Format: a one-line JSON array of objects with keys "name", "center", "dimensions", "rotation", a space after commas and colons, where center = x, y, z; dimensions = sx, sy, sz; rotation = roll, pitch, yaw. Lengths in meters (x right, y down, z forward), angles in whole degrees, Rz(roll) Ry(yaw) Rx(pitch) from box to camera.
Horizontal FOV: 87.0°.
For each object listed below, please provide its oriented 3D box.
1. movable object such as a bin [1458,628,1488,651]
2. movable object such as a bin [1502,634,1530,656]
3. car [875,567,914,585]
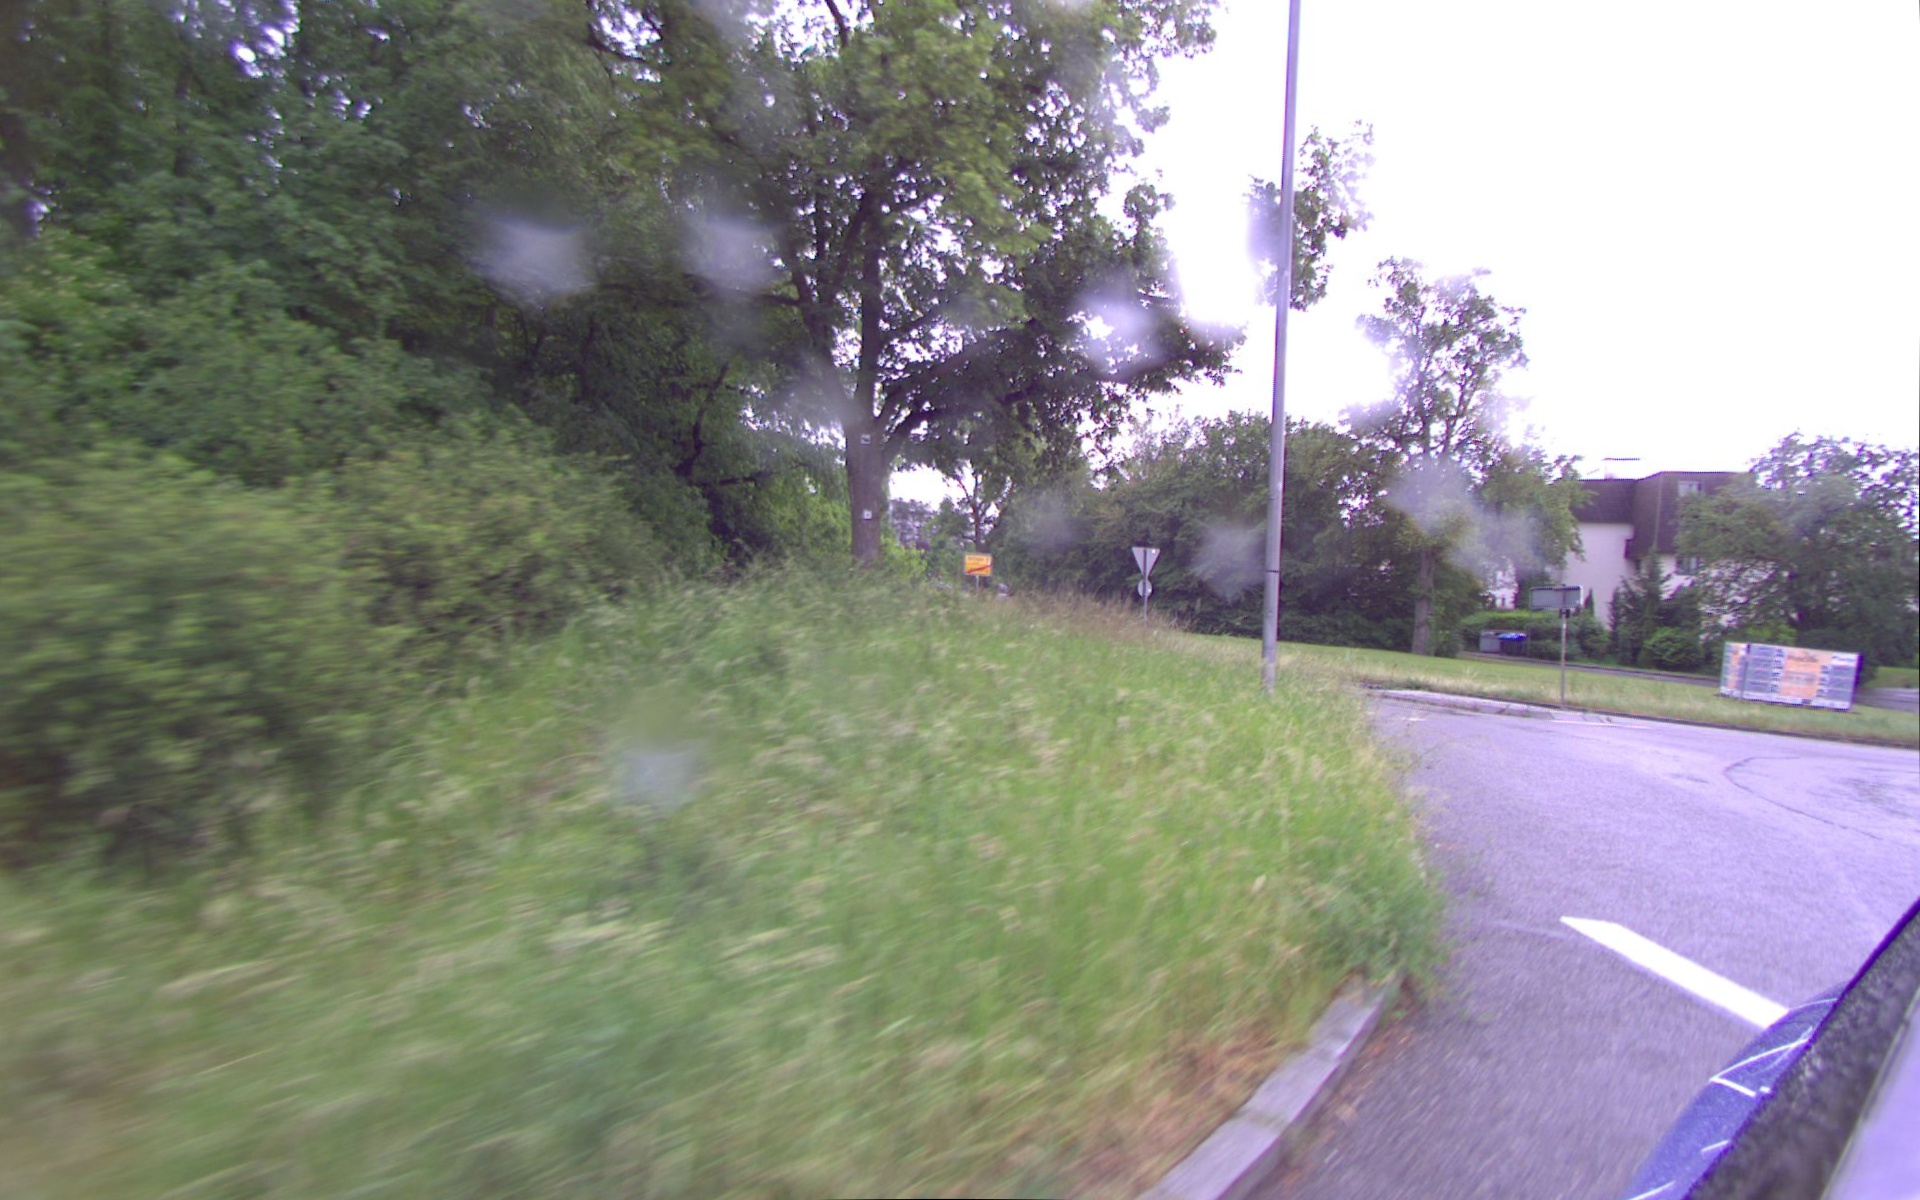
[{"name": "movable object such as a bin", "center": [36.824, 2.842, 72.613], "dimensions": [1.173, 1.455, 1.431], "rotation": [4, 0, -13]}, {"name": "movable object such as a bin", "center": [38.028, 3.075, 69.234], "dimensions": [1.173, 1.455, 1.077], "rotation": [2, 0, -13]}, {"name": "car", "center": [-10.751, -3.851, 165.314], "dimensions": [5.848, 2.685, 2.458], "rotation": [0, -3, 22]}]
